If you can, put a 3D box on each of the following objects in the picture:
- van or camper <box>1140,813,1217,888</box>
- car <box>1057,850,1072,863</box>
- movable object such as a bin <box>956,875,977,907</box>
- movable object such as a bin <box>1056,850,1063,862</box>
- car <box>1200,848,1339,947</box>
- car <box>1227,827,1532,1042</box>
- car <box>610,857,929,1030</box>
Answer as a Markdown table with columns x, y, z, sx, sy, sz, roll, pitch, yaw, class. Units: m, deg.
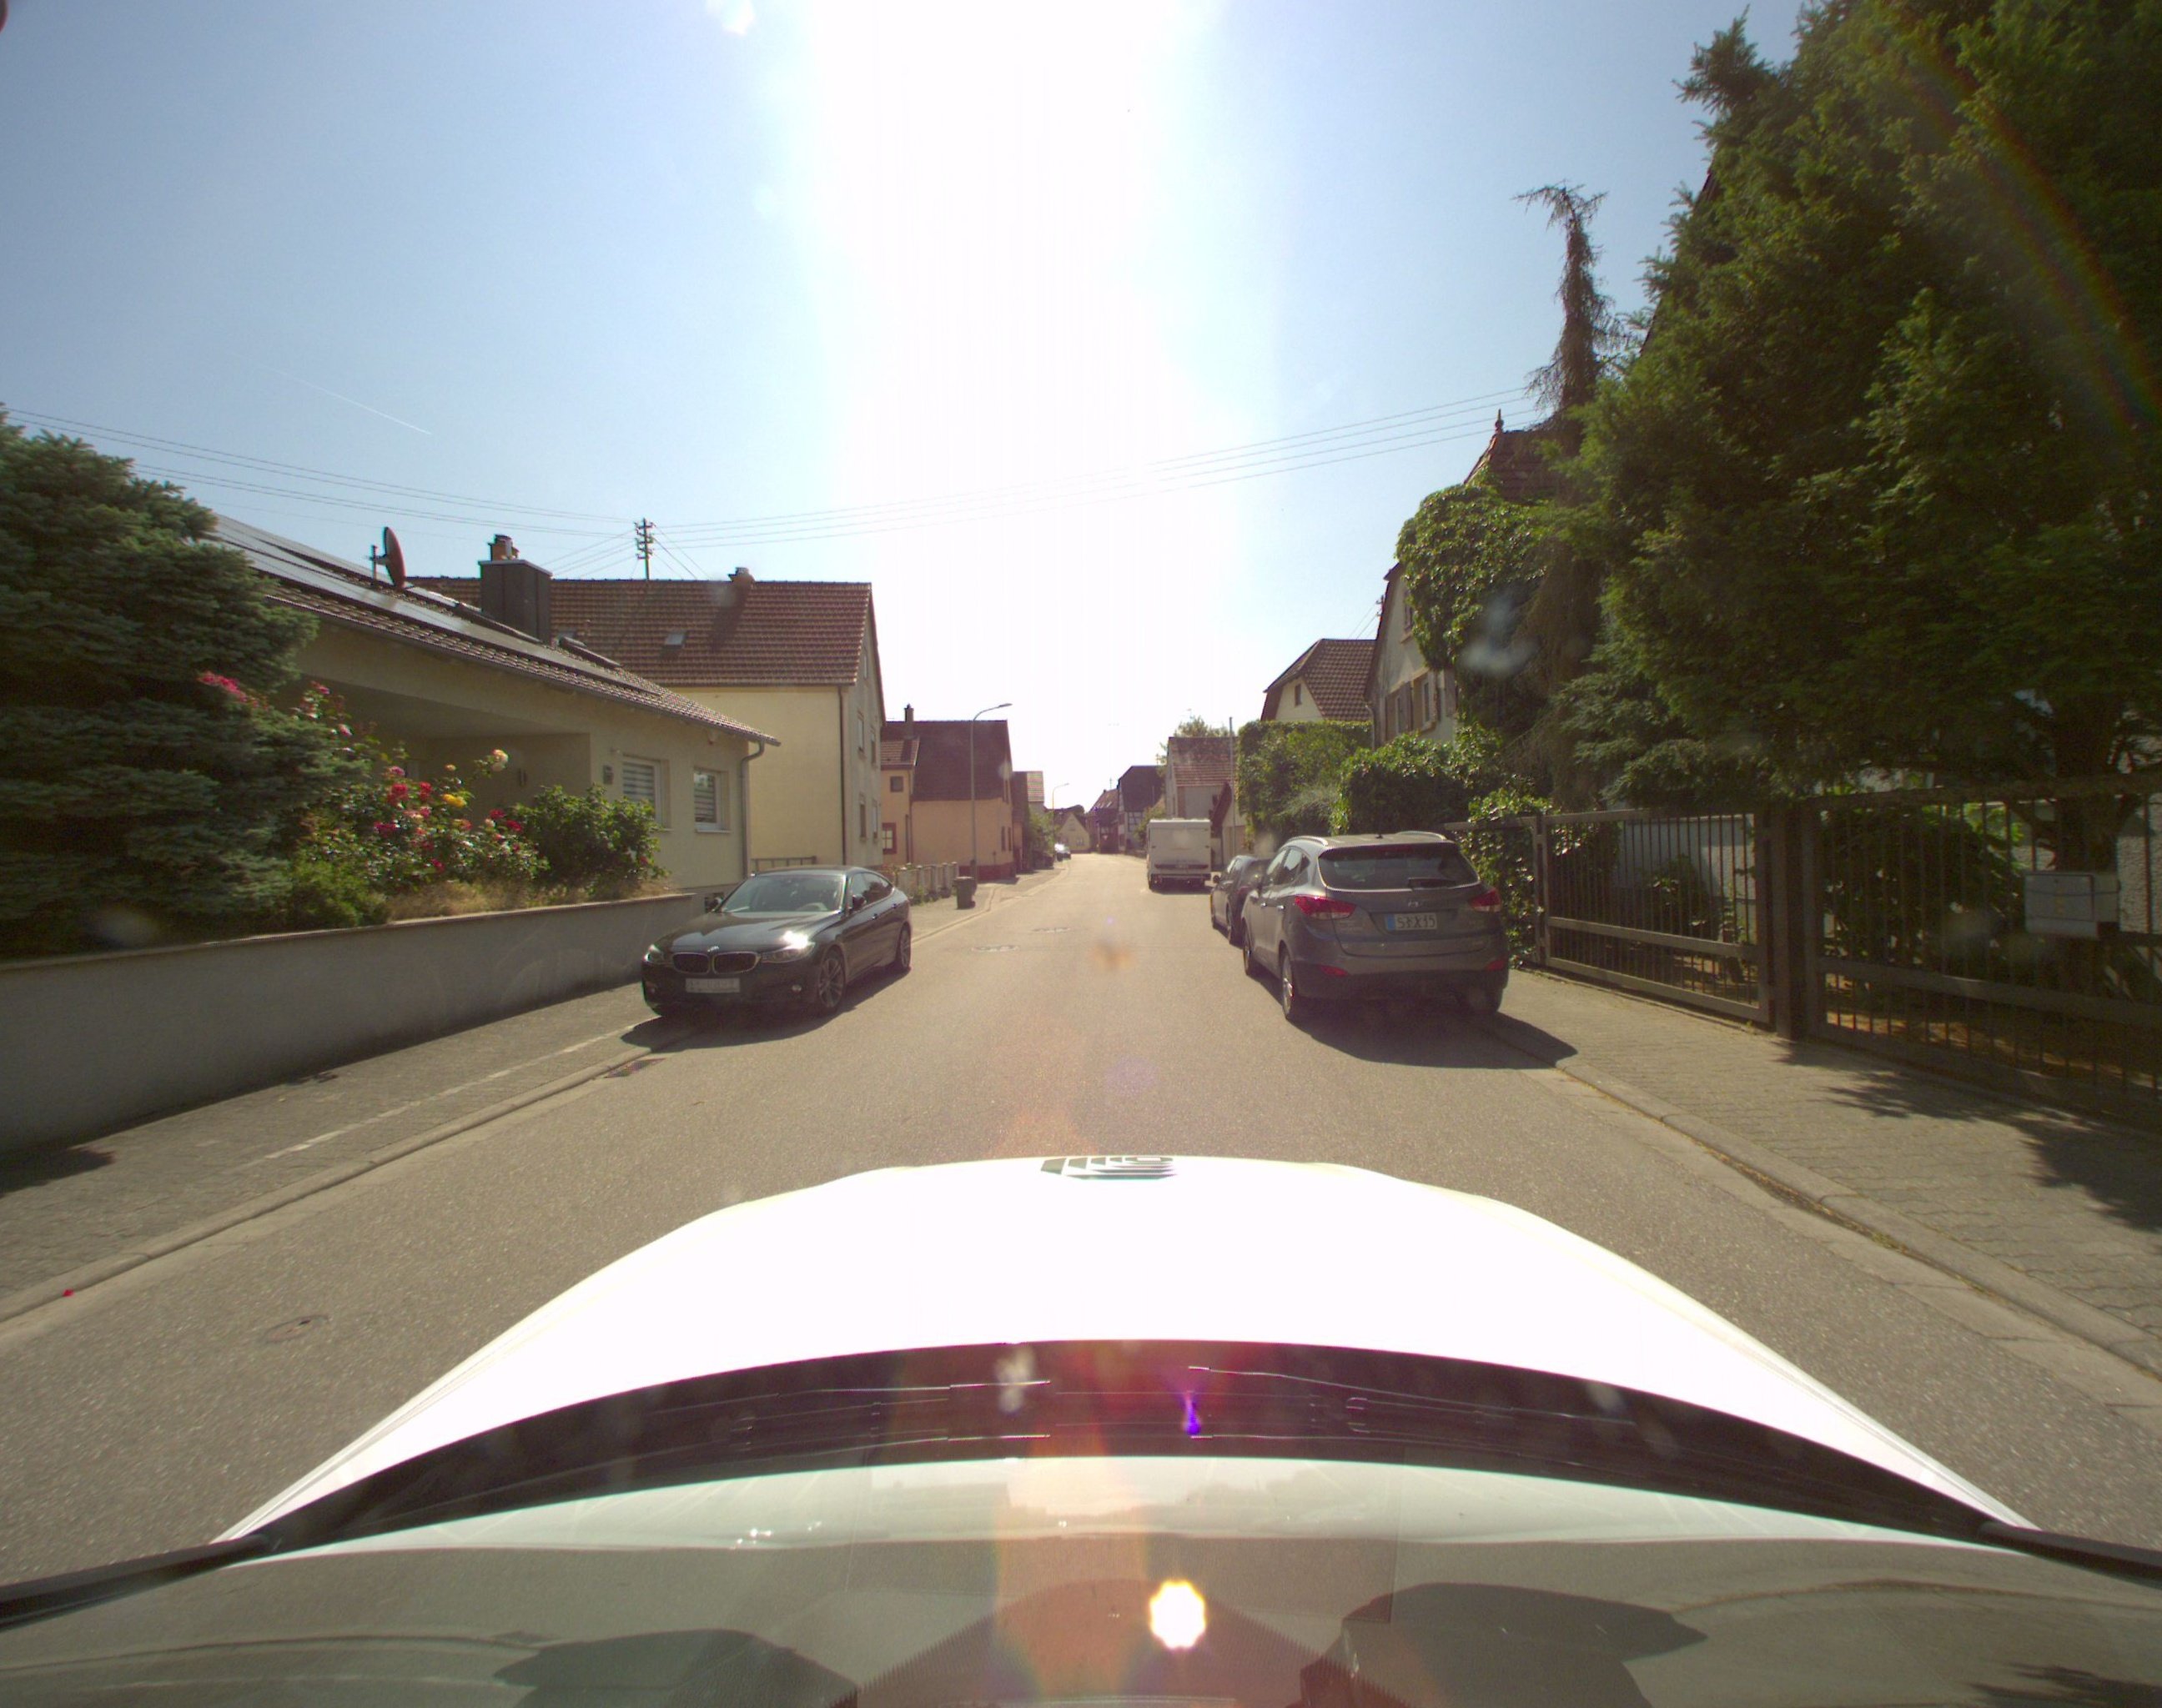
| x | y | z | sx | sy | sz | roll | pitch | yaw | class |
| --- | --- | --- | --- | --- | --- | --- | --- | --- | --- |
| 3.753 | -0.129 | 32.221 | 2.513 | 2.696 | 4.556 | -2 | 0 | 1 | van or camper |
| -1.958 | 0.292 | 96.257 | 1.506 | 1.436 | 3.513 | -3 | 0 | 2 | car |
| -3.512 | 1.116 | 24.910 | 0.537 | 0.949 | 0.553 | -1 | 0 | 1 | movable object such as a bin |
| -2.211 | 0.237 | 83.478 | 0.686 | 1.185 | 0.715 | -2 | 0 | 1 | movable object such as a bin |
| 3.189 | 0.659 | 14.545 | 1.705 | 1.464 | 4.068 | -2 | 0 | 3 | car |
| 2.723 | 0.610 | 8.546 | 1.786 | 1.631 | 4.365 | -2 | 1 | 3 | car |
| -3.333 | 0.846 | 9.923 | 1.837 | 1.526 | 4.768 | -1 | 0 | 3 | car |
